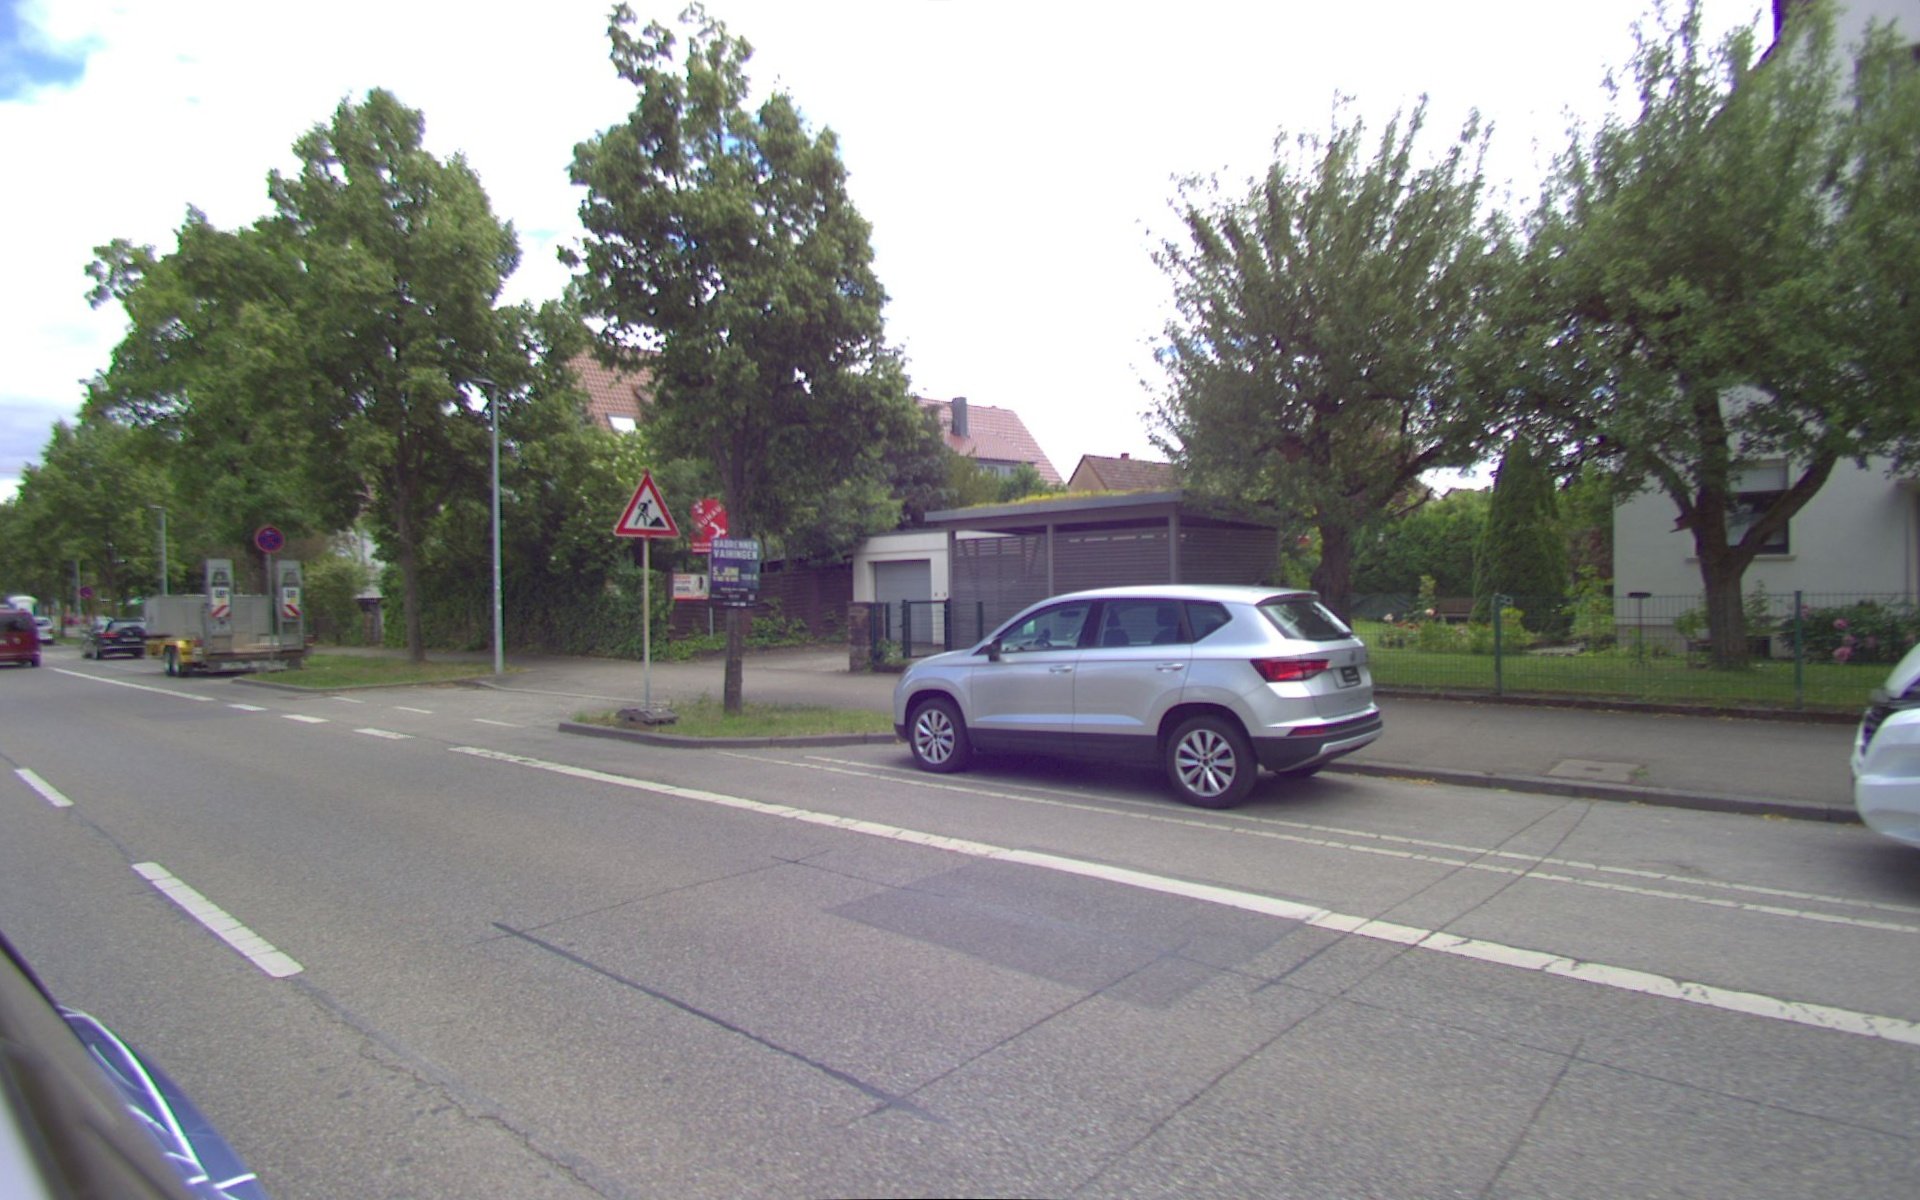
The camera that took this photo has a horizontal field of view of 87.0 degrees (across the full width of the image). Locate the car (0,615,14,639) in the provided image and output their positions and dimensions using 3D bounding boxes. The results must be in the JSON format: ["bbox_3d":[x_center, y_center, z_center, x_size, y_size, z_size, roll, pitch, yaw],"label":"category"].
[{"bbox_3d":[-76.356,2.161,80.455,1.687,1.888,4.402,0,0,-43],"label":"car"}]

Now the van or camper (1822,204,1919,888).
[{"bbox_3d":[7.688,-0.305,3.042,7.690,3.032,2.409,-1,-1,42],"label":"van or camper"}]

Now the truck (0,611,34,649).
[{"bbox_3d":[-60.698,1.876,64.581,2.268,2.304,6.469,0,-1,-43],"label":"truck"}]

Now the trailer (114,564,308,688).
[{"bbox_3d":[-20.618,0.622,27.689,7.471,2.963,2.646,-1,1,41],"label":"trailer"}]

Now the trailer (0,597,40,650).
[{"bbox_3d":[-56.015,1.398,59.757,2.344,2.985,7.016,0,-1,-43],"label":"trailer"}]

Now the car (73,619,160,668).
[{"bbox_3d":[-31.308,1.559,37.518,4.619,1.564,1.841,1,1,42],"label":"car"}]

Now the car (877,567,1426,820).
[{"bbox_3d":[1.393,0.627,8.515,4.271,1.612,1.704,-1,-1,42],"label":"car"}]

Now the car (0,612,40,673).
[{"bbox_3d":[-30.618,1.313,32.007,4.766,1.817,1.742,-1,-1,41],"label":"car"}]
